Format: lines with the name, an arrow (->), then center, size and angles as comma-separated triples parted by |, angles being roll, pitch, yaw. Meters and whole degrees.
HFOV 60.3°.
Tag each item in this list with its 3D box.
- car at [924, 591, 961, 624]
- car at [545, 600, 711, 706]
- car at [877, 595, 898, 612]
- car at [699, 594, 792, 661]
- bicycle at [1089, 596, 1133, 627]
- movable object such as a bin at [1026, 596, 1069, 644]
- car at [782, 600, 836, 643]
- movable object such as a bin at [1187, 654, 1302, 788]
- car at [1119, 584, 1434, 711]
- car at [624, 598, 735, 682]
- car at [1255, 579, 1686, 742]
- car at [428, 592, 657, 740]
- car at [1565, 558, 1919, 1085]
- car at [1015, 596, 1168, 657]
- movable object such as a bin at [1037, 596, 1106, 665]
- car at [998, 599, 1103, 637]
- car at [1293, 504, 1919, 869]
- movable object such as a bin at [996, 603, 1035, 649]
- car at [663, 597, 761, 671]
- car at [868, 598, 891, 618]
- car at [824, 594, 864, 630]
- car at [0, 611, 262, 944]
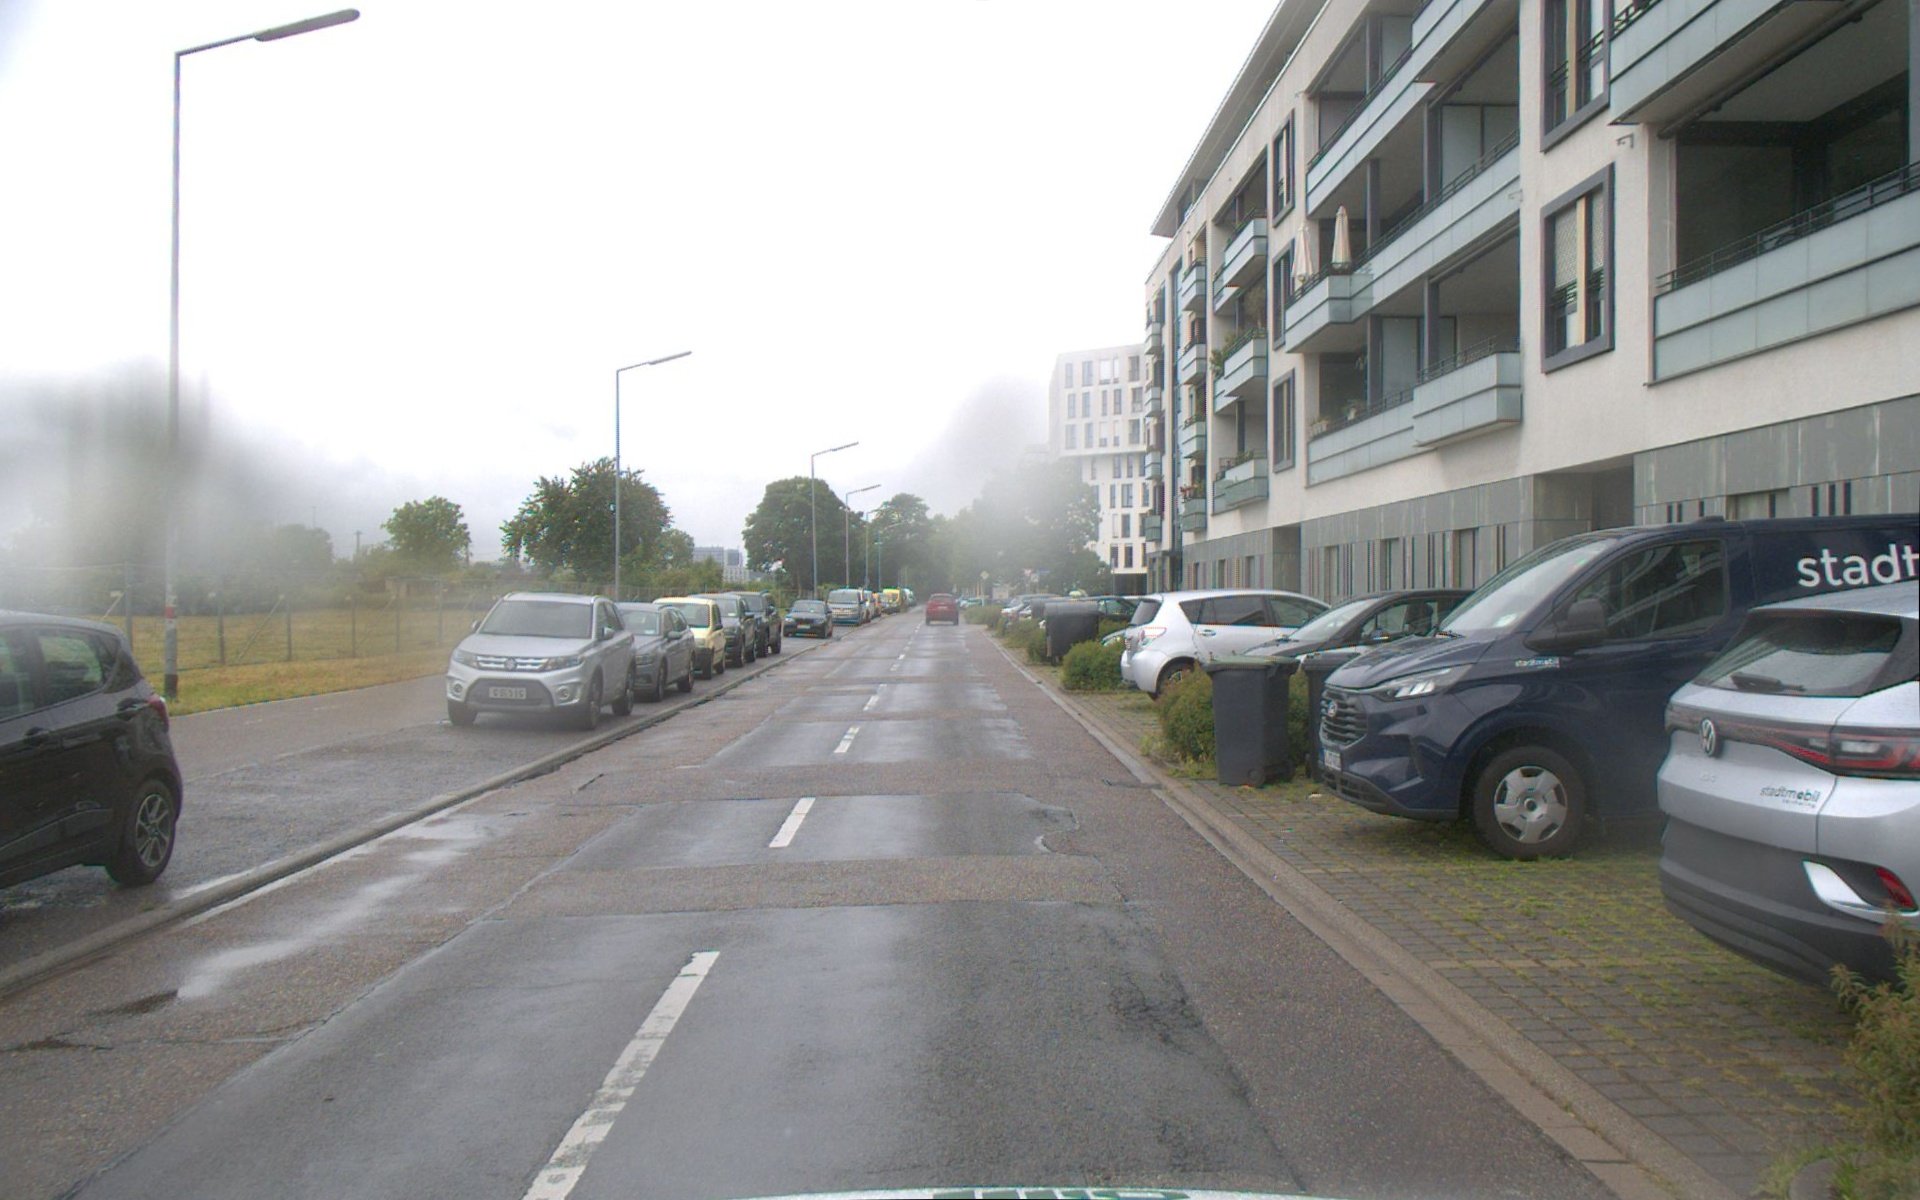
car -> -0.957, 0.393, 90.773 | 1.953, 1.713, 4.599 | 1, 0, 0
car -> -5.414, 0.827, 27.577 | 1.800, 1.555, 4.670 | 2, -1, 0
car -> -7.388, 0.341, 168.991 | 1.953, 1.622, 5.015 | 2, -1, -2
car -> -5.772, 0.700, 44.998 | 1.716, 1.722, 4.882 | 0, 0, 2
bicycle -> 7.855, 0.587, 85.960 | 2.142, 1.549, 0.631 | -1, 0, 20
movable object such as a bin -> 2.882, 0.655, 54.759 | 1.274, 1.553, 1.581 | -1, 0, -1
car -> -6.013, 0.833, 66.238 | 1.809, 1.588, 4.151 | 2, 0, -1
movable object such as a bin -> 2.409, 1.003, 13.995 | 0.801, 1.065, 0.538 | 0, 0, 38
car -> 4.433, 0.657, 23.558 | 4.123, 1.673, 1.686 | -1, -1, -2
car -> -5.625, 0.776, 33.620 | 1.690, 1.602, 4.208 | 0, -1, -2
car -> 5.474, 0.626, 18.032 | 4.094, 1.509, 1.749 | -2, -1, -5
car -> -5.319, 0.767, 21.767 | 1.815, 1.635, 4.987 | 3, 0, -2
car -> 4.771, 0.616, 6.087 | 4.326, 1.629, 2.083 | -2, 0, 4
car -> 3.798, 0.752, 48.340 | 4.258, 1.557, 1.893 | -2, 0, -1
movable object such as a bin -> 2.598, 0.697, 38.798 | 1.465, 1.519, 1.155 | -3, 0, -1
car -> 3.835, 0.749, 70.732 | 4.320, 1.429, 1.910 | -2, 0, -2
car -> 4.832, 0.456, 10.524 | 4.948, 1.962, 1.981 | -2, 0, -1
movable object such as a bin -> 1.940, 0.892, 58.043 | 1.274, 1.553, 1.581 | -2, 0, -1
car -> -5.725, 0.756, 38.659 | 1.717, 1.618, 4.132 | 0, 0, -1
car -> -6.956, 0.666, 143.864 | 1.767, 1.588, 4.032 | 3, 0, -1
car -> -6.327, 0.631, 90.686 | 1.916, 1.935, 4.994 | 0, 0, -1
car -> -5.189, 0.823, 8.318 | 1.638, 1.488, 4.156 | 0, 0, -1
